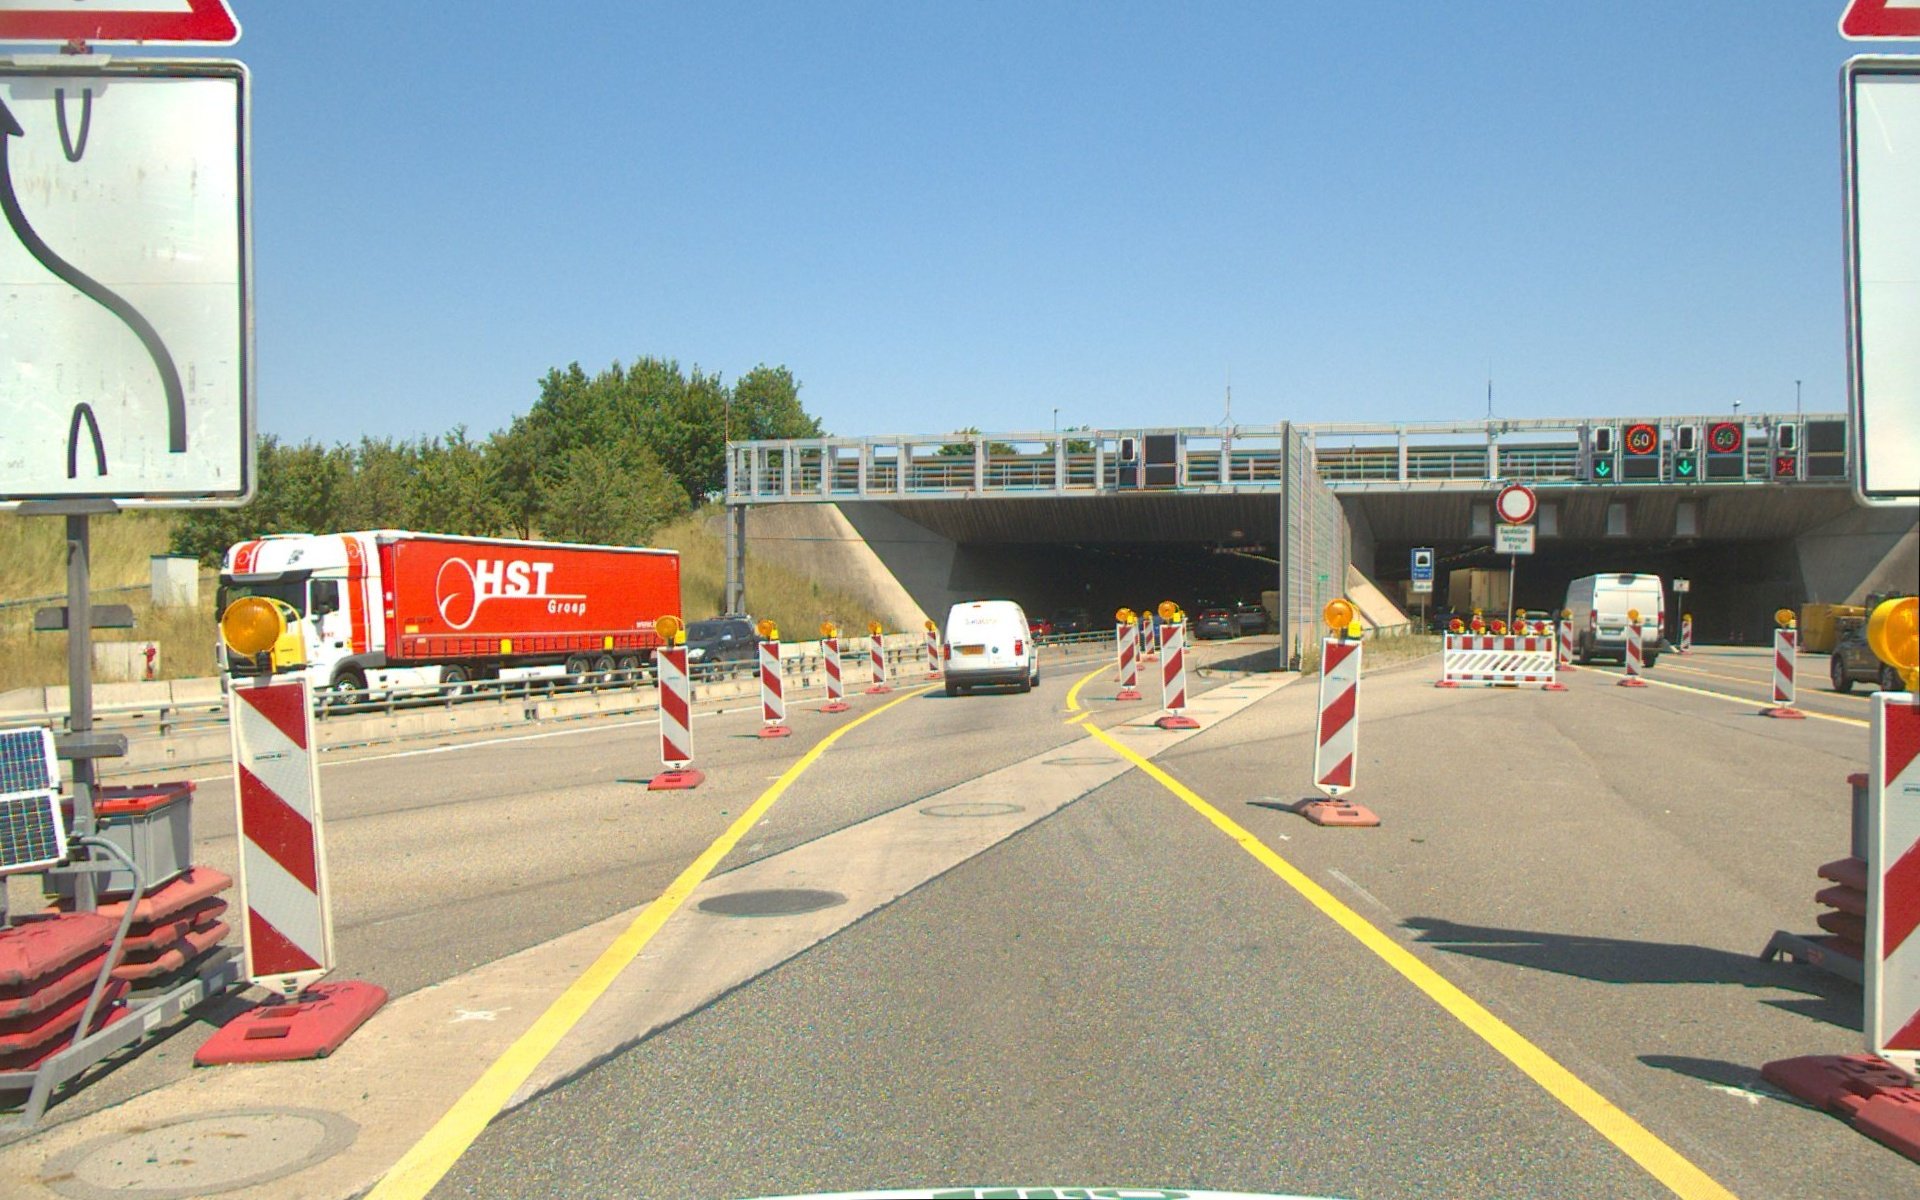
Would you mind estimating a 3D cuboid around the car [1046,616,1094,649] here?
[{"bbox_3d":[6.796,1.995,102.069,1.652,1.866,4.788,-3,-2,19],"label":"car"}]

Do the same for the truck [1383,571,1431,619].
[{"bbox_3d":[47.529,-0.441,176.293,3.329,4.411,16.548,2,-1,10],"label":"truck"}]

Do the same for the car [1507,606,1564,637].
[{"bbox_3d":[29.136,1.107,83.903,1.776,1.490,4.656,1,-1,7],"label":"car"}]

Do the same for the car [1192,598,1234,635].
[{"bbox_3d":[13.199,0.849,86.063,1.770,1.847,4.413,-1,-1,13],"label":"car"}]

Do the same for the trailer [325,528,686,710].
[{"bbox_3d":[-11.595,0.539,44.501,2.289,4.174,13.265,-1,-1,19],"label":"trailer"}]

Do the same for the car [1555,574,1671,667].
[{"bbox_3d":[19.537,0.614,49.759,2.217,2.580,6.590,1,-1,13],"label":"car"}]

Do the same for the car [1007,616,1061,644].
[{"bbox_3d":[4.090,1.657,91.142,1.653,1.419,3.999,-3,-2,22],"label":"car"}]

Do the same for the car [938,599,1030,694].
[{"bbox_3d":[0.499,0.933,34.096,1.771,1.825,3.731,-1,-1,1],"label":"car"}]

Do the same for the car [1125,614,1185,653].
[{"bbox_3d":[8.101,1.368,68.425,1.770,1.564,4.412,-1,-1,16],"label":"car"}]

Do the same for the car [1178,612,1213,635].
[{"bbox_3d":[17.748,1.771,124.626,1.707,1.621,4.228,-3,-1,21],"label":"car"}]

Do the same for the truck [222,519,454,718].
[{"bbox_3d":[-13.963,0.438,37.500,2.285,4.180,5.019,-1,-1,18],"label":"truck"}]

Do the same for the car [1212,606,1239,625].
[{"bbox_3d":[24.280,1.417,151.174,1.736,1.621,4.989,-3,-1,17],"label":"car"}]

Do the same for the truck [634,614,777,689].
[{"bbox_3d":[-7.031,1.403,46.275,1.952,1.906,4.763,-1,0,19],"label":"truck"}]

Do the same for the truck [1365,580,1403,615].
[{"bbox_3d":[55.425,-0.274,216.421,3.329,4.143,16.549,1,-1,10],"label":"truck"}]

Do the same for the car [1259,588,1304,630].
[{"bbox_3d":[23.163,0.704,119.034,2.754,2.822,7.106,-2,-2,14],"label":"car"}]

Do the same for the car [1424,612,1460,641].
[{"bbox_3d":[29.073,1.634,99.901,1.776,1.671,4.656,1,-1,13],"label":"car"}]

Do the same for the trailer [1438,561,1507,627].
[{"bbox_3d":[34.950,-0.270,113.312,2.674,4.133,14.106,1,-1,10],"label":"trailer"}]

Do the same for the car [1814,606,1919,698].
[{"bbox_3d":[18.968,1.017,32.943,1.976,1.692,5.241,1,-1,10],"label":"car"}]

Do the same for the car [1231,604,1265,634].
[{"bbox_3d":[17.573,1.155,100.793,1.770,1.781,4.413,-1,-1,13],"label":"car"}]
